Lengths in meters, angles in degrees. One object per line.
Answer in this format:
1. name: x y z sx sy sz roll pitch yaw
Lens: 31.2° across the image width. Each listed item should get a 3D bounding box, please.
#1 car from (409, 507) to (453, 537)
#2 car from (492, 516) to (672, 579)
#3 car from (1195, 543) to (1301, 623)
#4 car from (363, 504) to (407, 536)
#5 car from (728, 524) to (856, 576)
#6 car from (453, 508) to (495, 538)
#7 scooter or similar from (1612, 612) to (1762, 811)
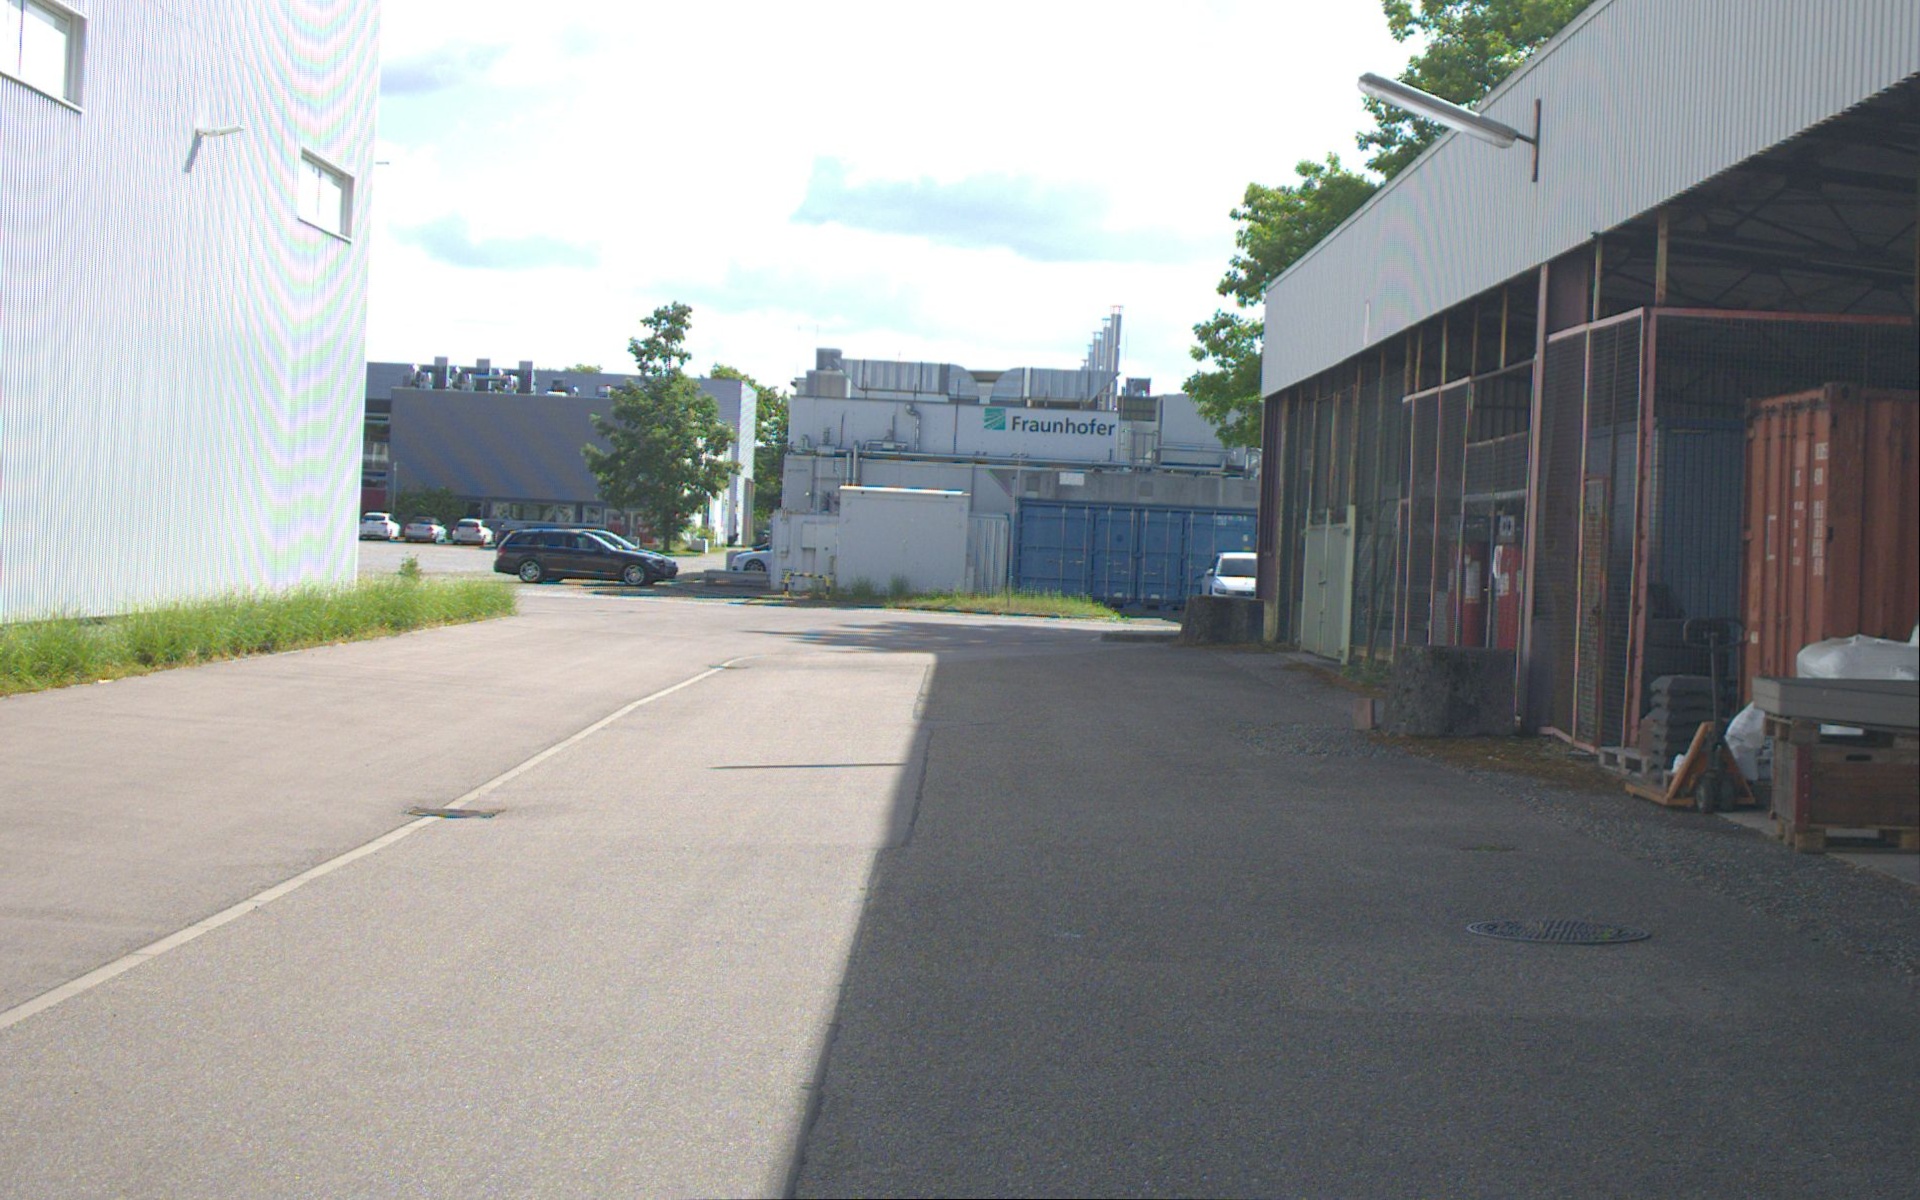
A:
1. car: -29.058 -4.274 188.917 1.877 1.532 4.036 1 1 -2
2. car: -10.091 -1.395 92.067 4.529 1.438 1.987 3 -1 0
3. car: 6.611 -0.415 79.420 1.981 1.588 4.341 3 2 0
4. car: -31.623 -4.403 189.076 1.877 1.684 4.036 1 1 -2
5. car: -5.846 -1.719 119.799 4.279 1.564 1.987 3 -1 0
6. car: -26.730 -4.230 189.131 1.877 1.532 4.036 1 1 -2
7. scooter or similar: 4.382 0.651 20.798 0.520 1.130 1.592 2 0 0
